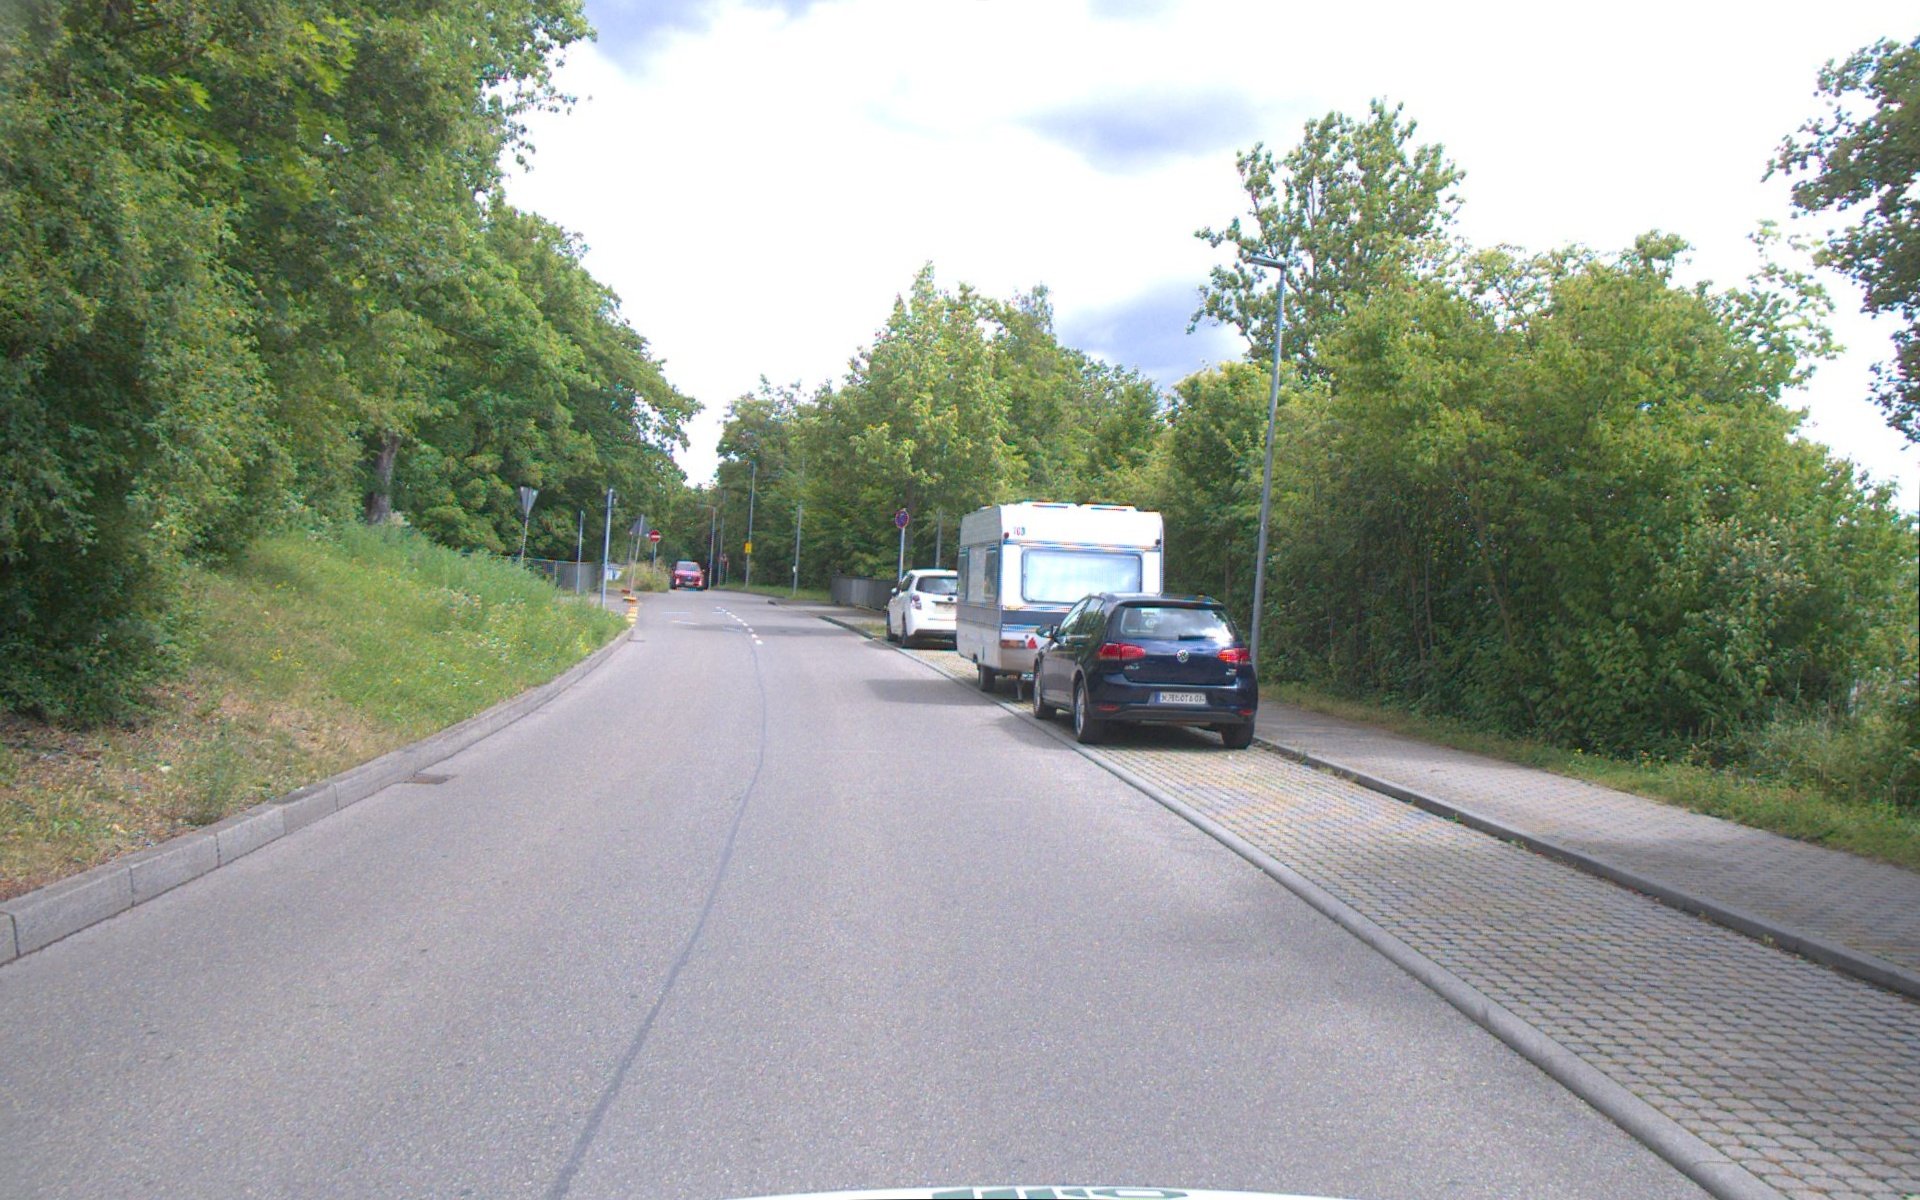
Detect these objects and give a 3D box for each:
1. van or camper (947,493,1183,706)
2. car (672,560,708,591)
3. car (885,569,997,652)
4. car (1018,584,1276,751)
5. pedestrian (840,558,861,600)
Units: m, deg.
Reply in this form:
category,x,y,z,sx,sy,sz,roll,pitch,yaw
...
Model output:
category,x,y,z,sx,sy,sz,roll,pitch,yaw
van or camper,1.303,-0.031,23.193,2.310,2.598,5.066,2,0,-8
car,-16.075,-1.471,98.353,1.811,1.687,4.209,3,1,-12
car,-0.485,0.169,35.957,1.771,1.627,4.363,2,1,-9
car,1.829,0.610,17.608,1.650,1.476,4.473,3,0,-8
pedestrian,-4.805,-0.923,72.507,0.575,1.814,0.682,2,-2,22
